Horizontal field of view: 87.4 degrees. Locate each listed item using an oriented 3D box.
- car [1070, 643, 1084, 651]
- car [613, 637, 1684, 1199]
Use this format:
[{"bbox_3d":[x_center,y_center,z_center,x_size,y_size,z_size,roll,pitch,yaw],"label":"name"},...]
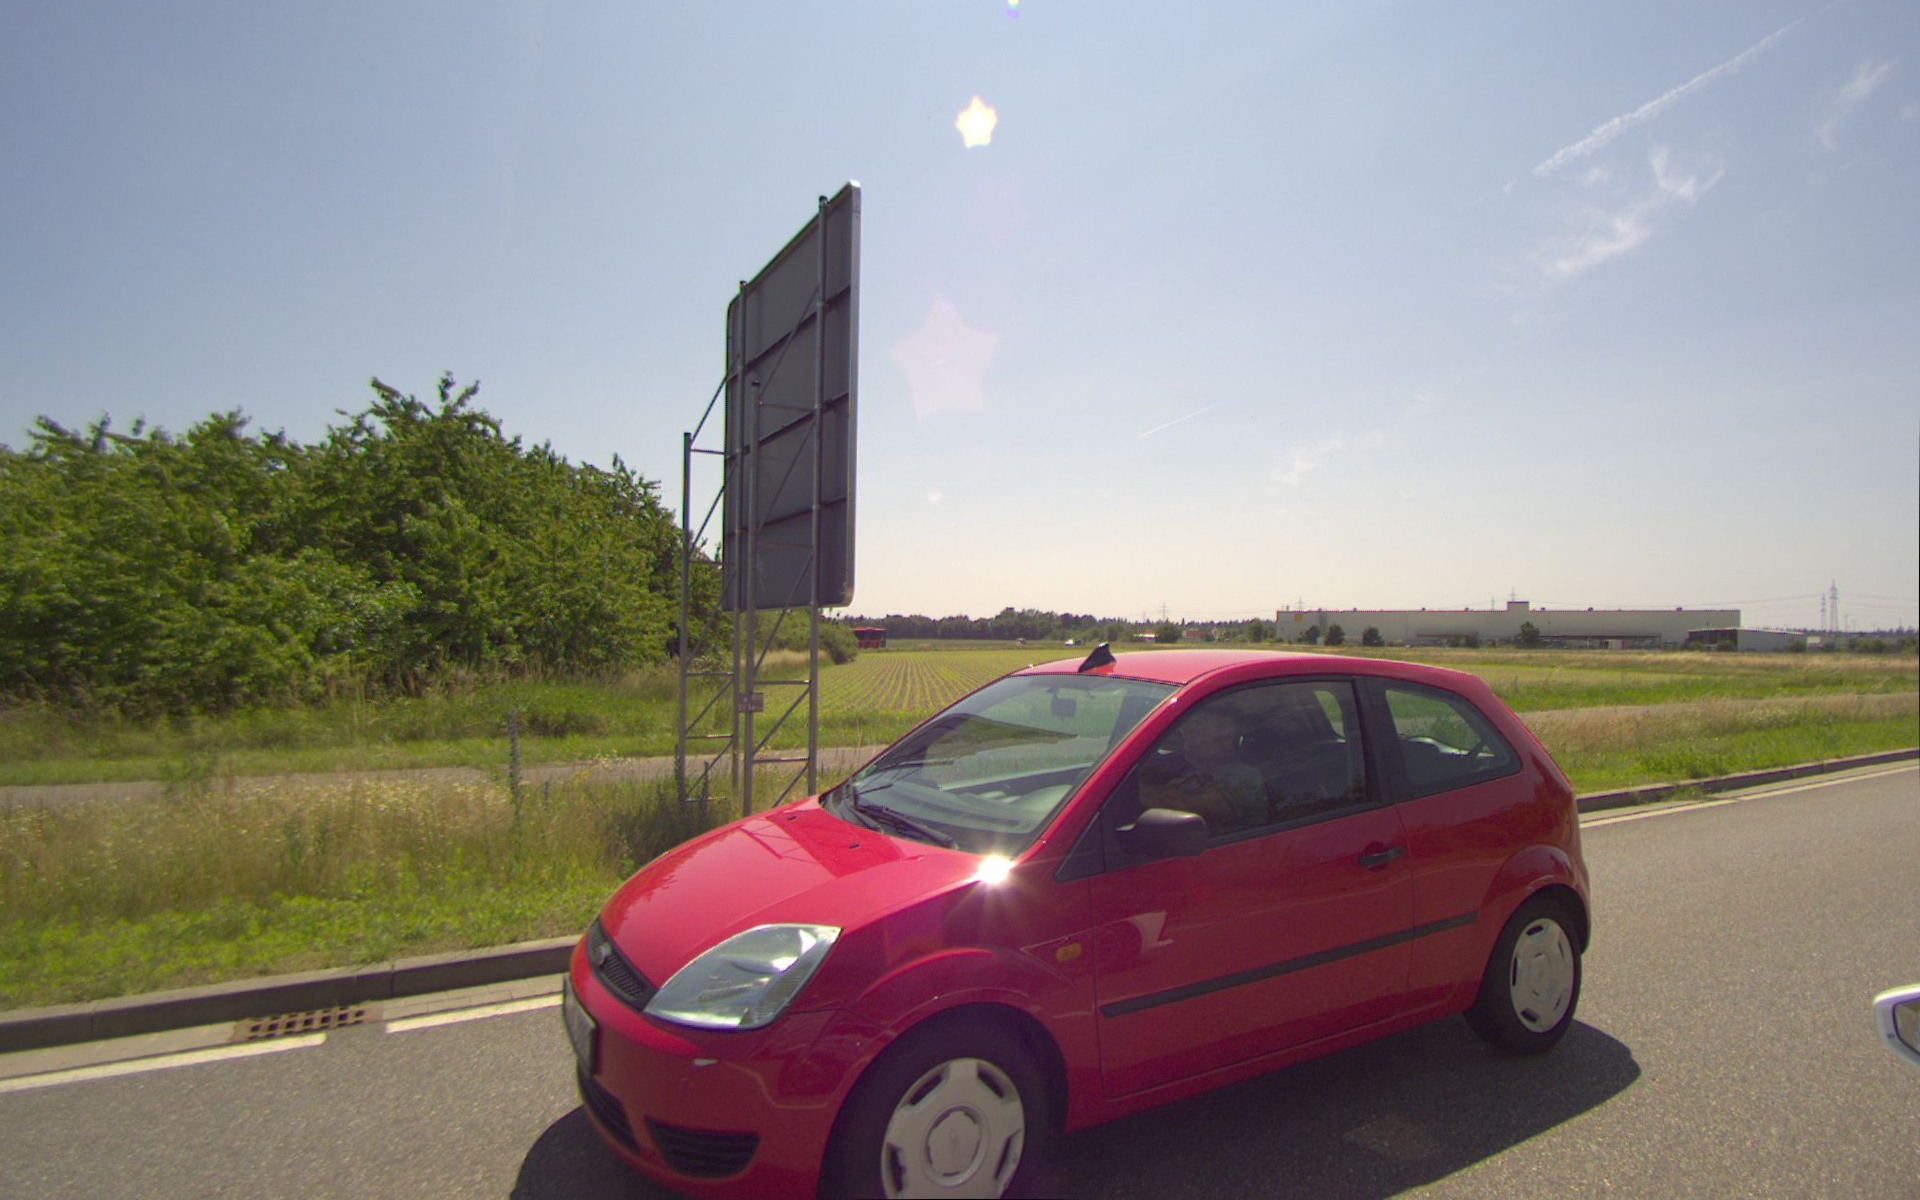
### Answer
[{"bbox_3d":[28.520,11.466,245.379,1.965,1.916,3.993,-1,-3,30],"label":"car"},{"bbox_3d":[0.805,0.899,3.697,3.693,1.452,1.648,2,-4,-31],"label":"car"}]
